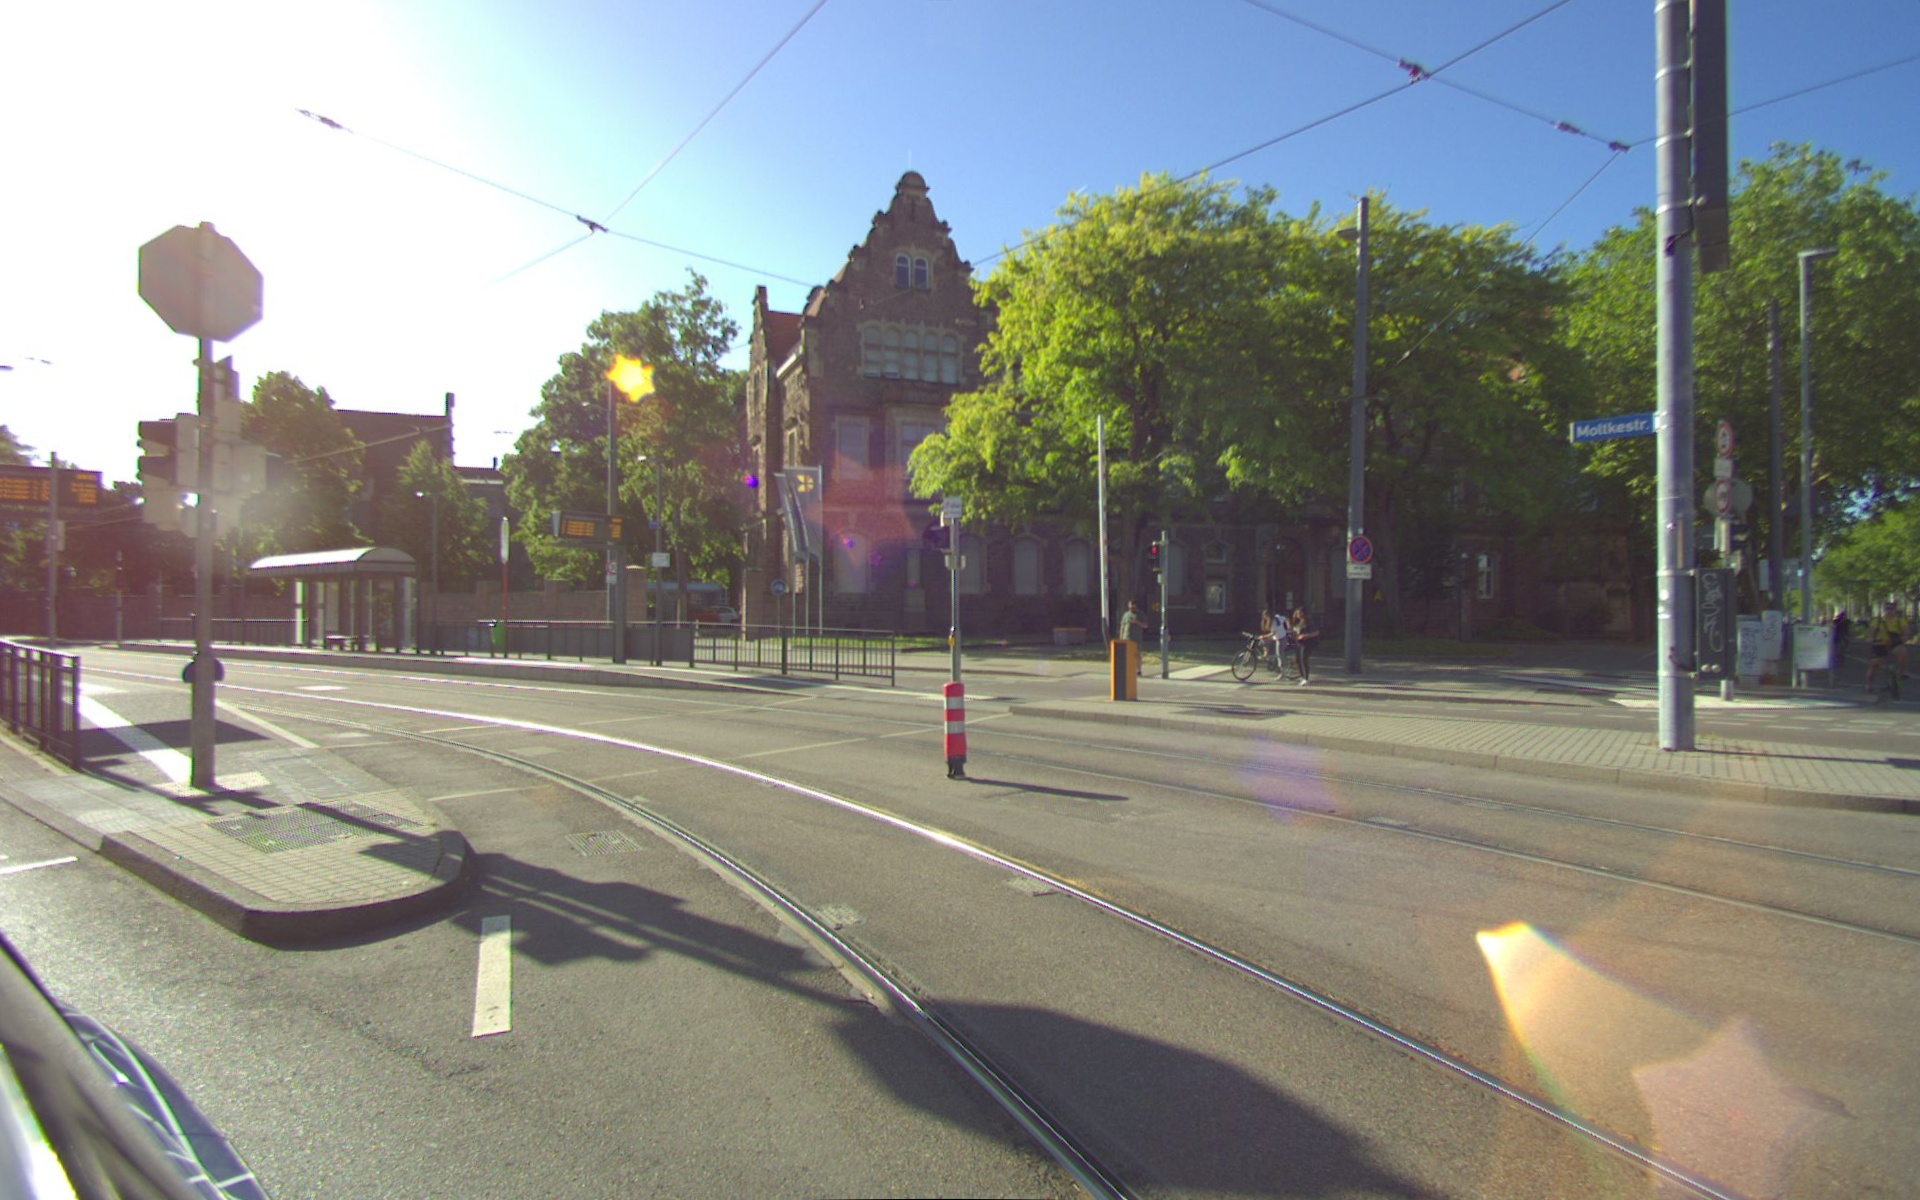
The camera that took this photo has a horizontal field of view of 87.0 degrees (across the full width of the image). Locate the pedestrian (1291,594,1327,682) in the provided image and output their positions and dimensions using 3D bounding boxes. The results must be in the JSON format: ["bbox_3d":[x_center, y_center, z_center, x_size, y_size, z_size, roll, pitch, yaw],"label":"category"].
[{"bbox_3d":[7.077,0.755,20.528,0.664,1.760,0.483,0,-1,17],"label":"pedestrian"}]

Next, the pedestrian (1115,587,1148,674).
[{"bbox_3d":[3.941,0.687,23.220,0.692,1.970,0.483,0,-1,17],"label":"pedestrian"}]

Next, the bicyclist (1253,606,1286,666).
[{"bbox_3d":[6.724,0.778,21.974,0.612,1.294,0.477,0,-1,9],"label":"bicyclist"}]

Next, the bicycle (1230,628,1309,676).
[{"bbox_3d":[6.711,1.121,21.960,1.575,1.004,0.478,0,-1,9],"label":"bicycle"}]

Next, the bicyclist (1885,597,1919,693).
[{"bbox_3d":[17.469,0.825,18.557,0.669,1.742,0.614,0,-4,38],"label":"bicyclist"}]

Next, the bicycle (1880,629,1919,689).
[{"bbox_3d":[17.529,1.102,18.632,0.690,1.041,2.072,0,-3,37],"label":"bicycle"}]
